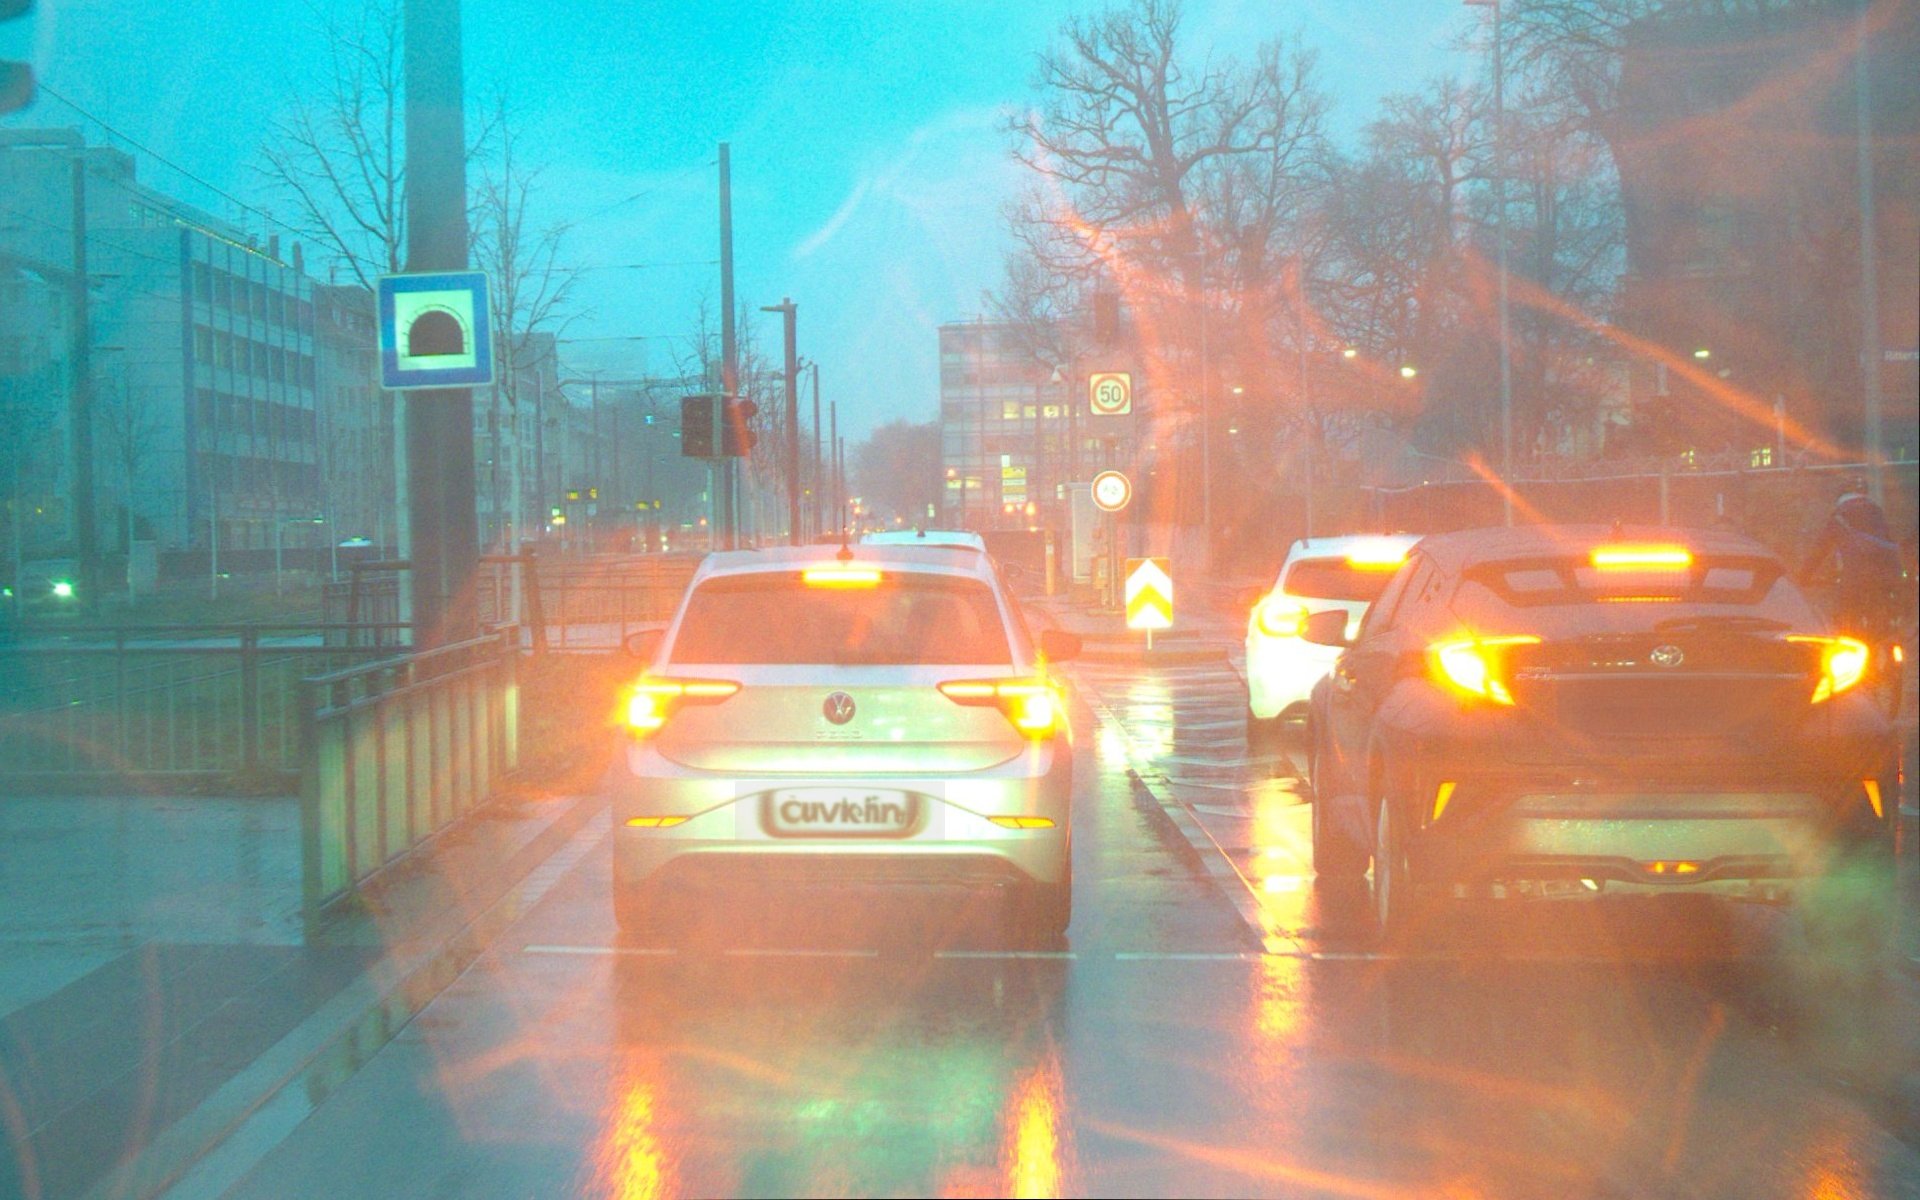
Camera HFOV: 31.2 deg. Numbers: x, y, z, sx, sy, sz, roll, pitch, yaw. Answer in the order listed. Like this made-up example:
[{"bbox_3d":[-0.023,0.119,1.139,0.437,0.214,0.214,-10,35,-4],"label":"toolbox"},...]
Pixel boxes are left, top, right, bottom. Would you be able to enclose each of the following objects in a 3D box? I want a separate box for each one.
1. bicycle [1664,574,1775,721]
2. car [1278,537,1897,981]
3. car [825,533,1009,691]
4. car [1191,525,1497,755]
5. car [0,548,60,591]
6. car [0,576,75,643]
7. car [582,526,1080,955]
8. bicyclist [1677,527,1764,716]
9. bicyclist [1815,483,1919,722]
[{"bbox_3d":[6.503,0.389,29.516,0.411,1.181,1.948,-1,1,-3],"label":"bicycle"},{"bbox_3d":[2.302,0.518,13.598,1.722,1.474,4.000,1,1,0],"label":"car"},{"bbox_3d":[-0.396,0.095,34.504,1.722,1.474,4.000,1,1,0],"label":"car"},{"bbox_3d":[2.632,0.239,24.350,1.722,1.474,4.000,1,1,0],"label":"car"},{"bbox_3d":[-33.790,-1.101,123.984,1.806,1.431,3.928,-2,2,-3],"label":"car"},{"bbox_3d":[-23.219,0.211,84.826,1.801,1.579,4.000,1,1,-1],"label":"car"},{"bbox_3d":[-0.438,0.471,14.009,1.722,1.474,4.000,1,1,0],"label":"car"},{"bbox_3d":[6.513,0.175,29.452,0.500,1.586,0.837,-1,1,-3],"label":"bicyclist"},{"bbox_3d":[6.817,0.010,25.852,0.500,1.761,0.837,-1,1,-3],"label":"bicyclist"}]
